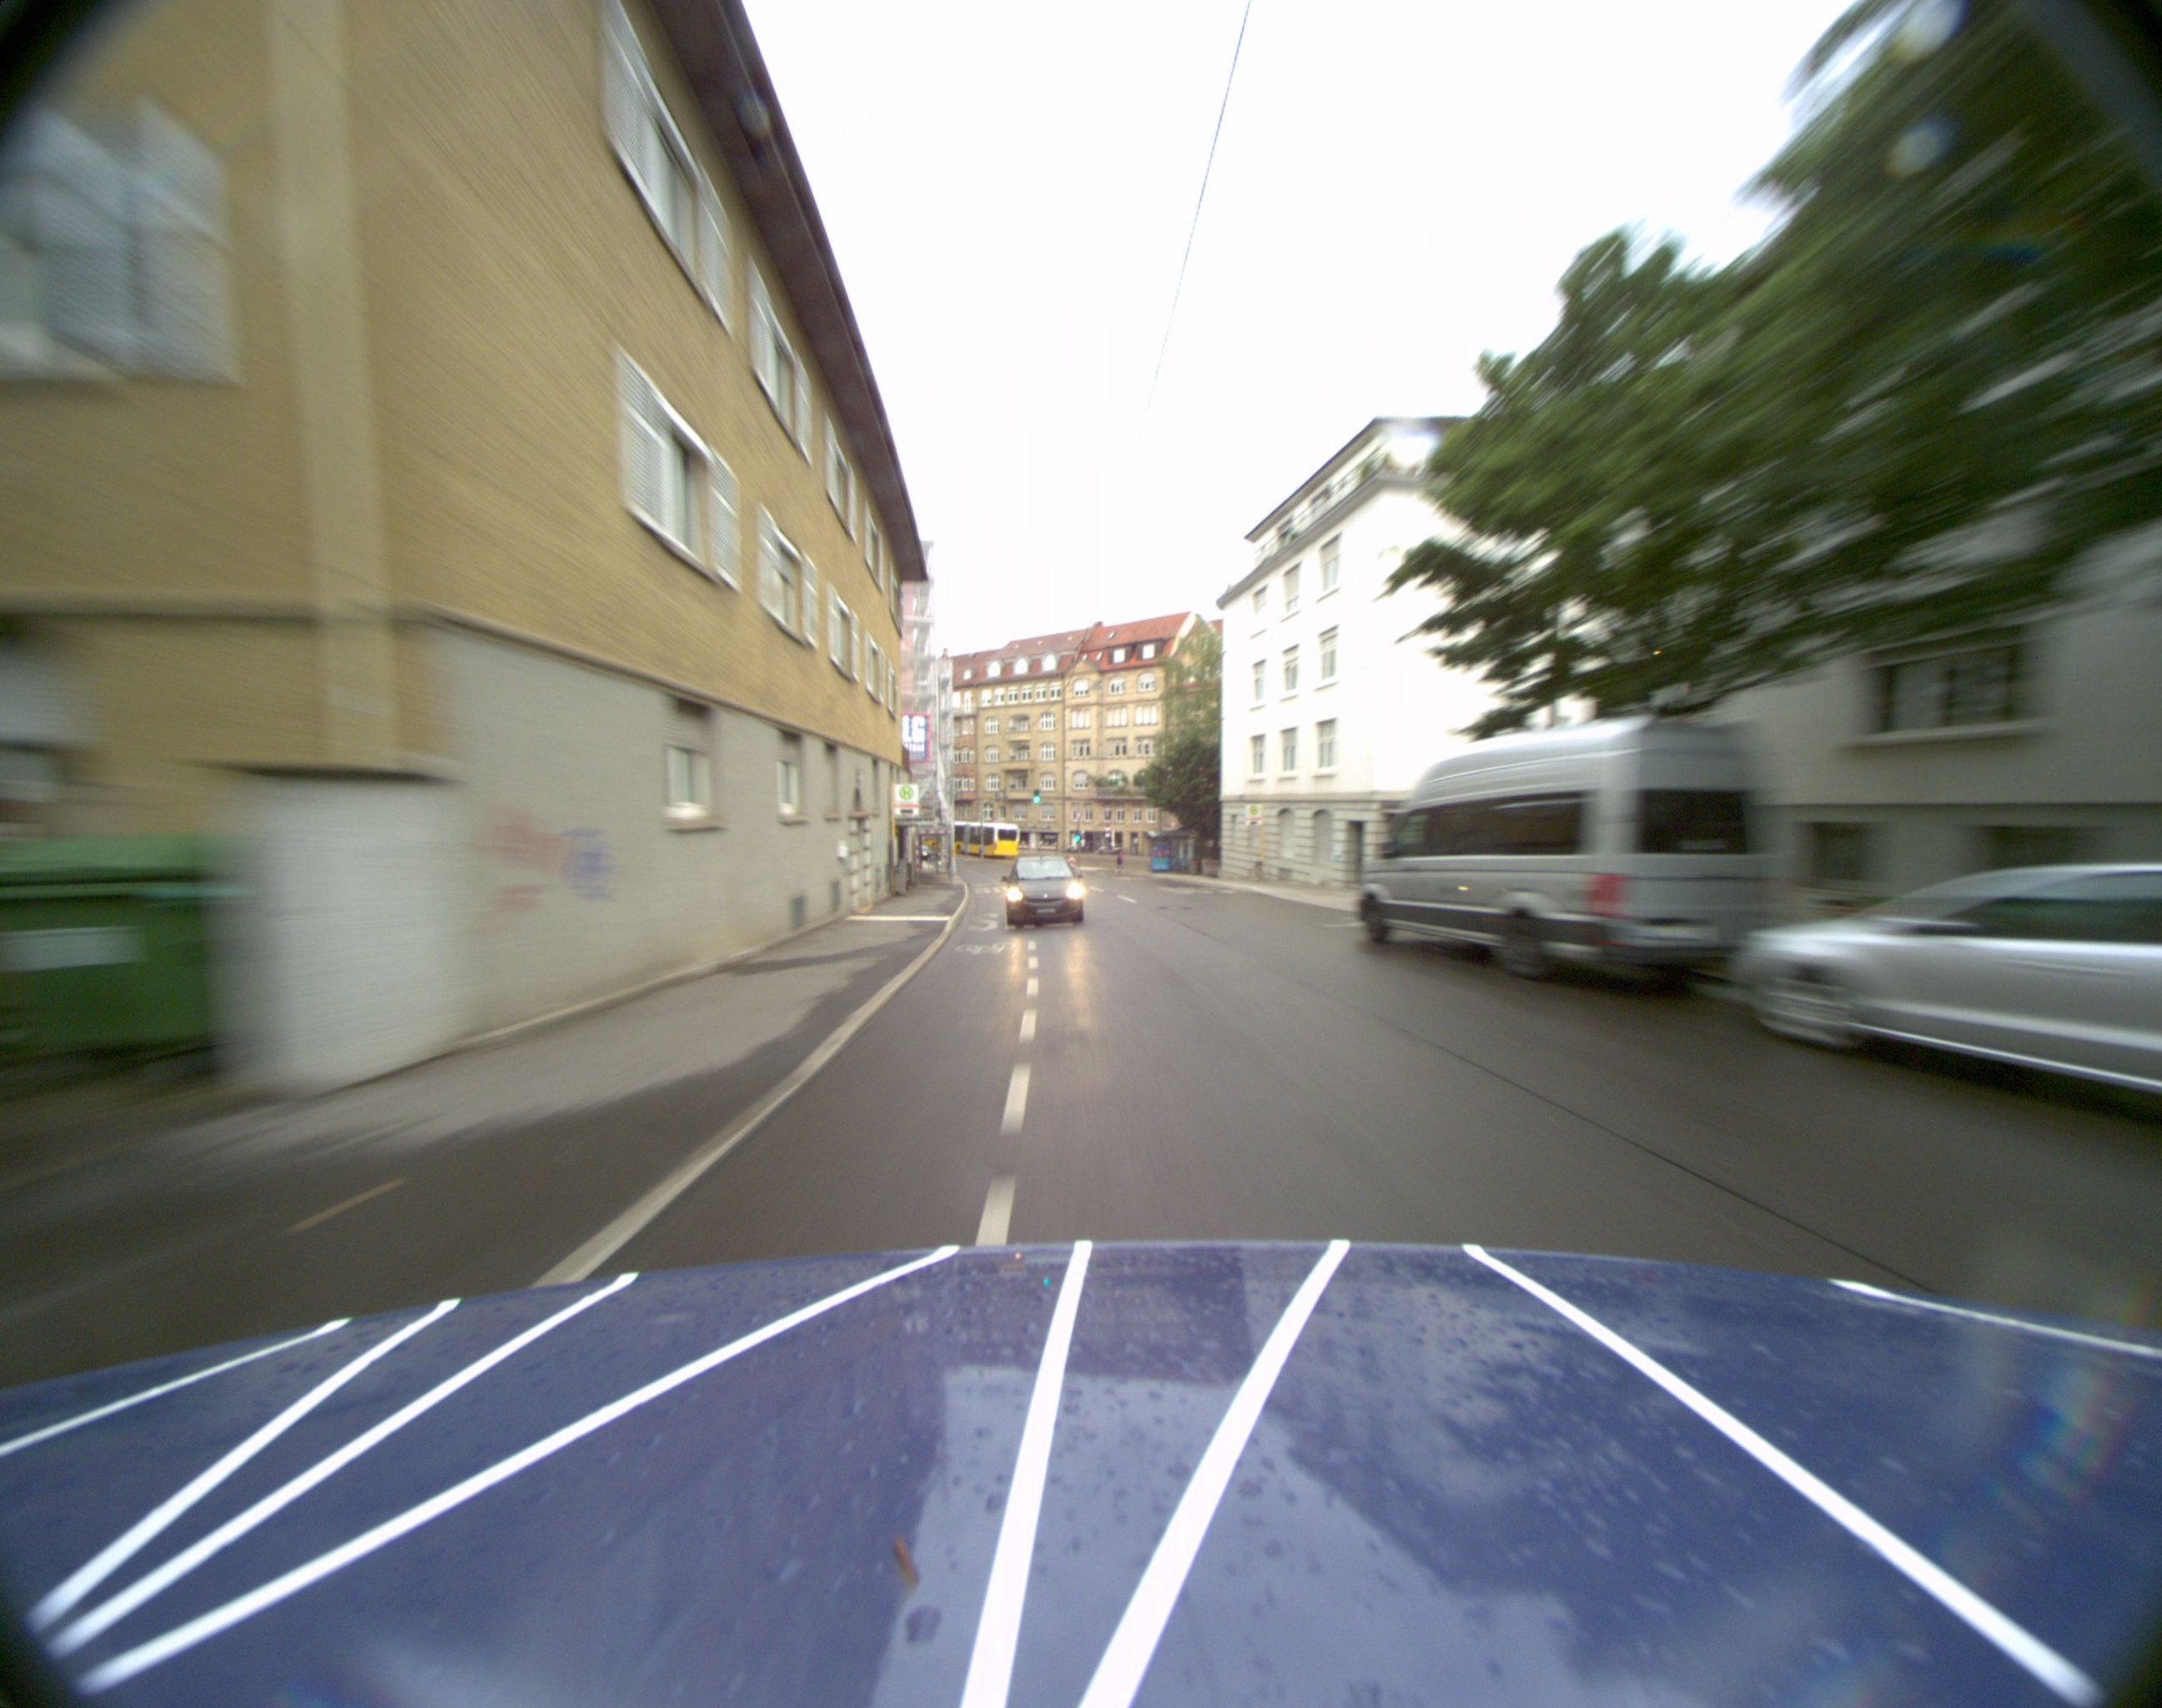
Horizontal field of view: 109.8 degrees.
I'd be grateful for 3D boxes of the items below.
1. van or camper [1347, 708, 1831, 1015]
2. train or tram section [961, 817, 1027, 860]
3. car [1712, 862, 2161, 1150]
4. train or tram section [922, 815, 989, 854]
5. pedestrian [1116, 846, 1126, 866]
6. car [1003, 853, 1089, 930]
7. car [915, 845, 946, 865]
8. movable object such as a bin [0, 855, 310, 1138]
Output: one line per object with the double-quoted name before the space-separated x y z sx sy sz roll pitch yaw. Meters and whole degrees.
"van or camper" 5.808 0.057 10.003 2.073 2.843 5.744 1 1 -6
"train or tram section" -8.971 -1.729 77.252 3.093 3.982 9.779 -2 4 -29
"car" 6.219 0.791 4.334 1.591 1.401 4.044 0 1 -7
"train or tram section" -14.249 -2.274 85.415 3.094 4.018 9.776 -3 5 -38
"pedestrian" 3.126 0.151 59.604 0.650 1.571 0.805 -1 1 -1
"car" -0.910 0.781 17.767 1.699 1.456 3.997 -4 1 -6
"car" -13.982 0.082 70.458 1.900 1.686 3.992 -3 1 -24
"movable object such as a bin" -5.541 0.755 4.381 1.254 1.447 0.826 -2 1 -3
